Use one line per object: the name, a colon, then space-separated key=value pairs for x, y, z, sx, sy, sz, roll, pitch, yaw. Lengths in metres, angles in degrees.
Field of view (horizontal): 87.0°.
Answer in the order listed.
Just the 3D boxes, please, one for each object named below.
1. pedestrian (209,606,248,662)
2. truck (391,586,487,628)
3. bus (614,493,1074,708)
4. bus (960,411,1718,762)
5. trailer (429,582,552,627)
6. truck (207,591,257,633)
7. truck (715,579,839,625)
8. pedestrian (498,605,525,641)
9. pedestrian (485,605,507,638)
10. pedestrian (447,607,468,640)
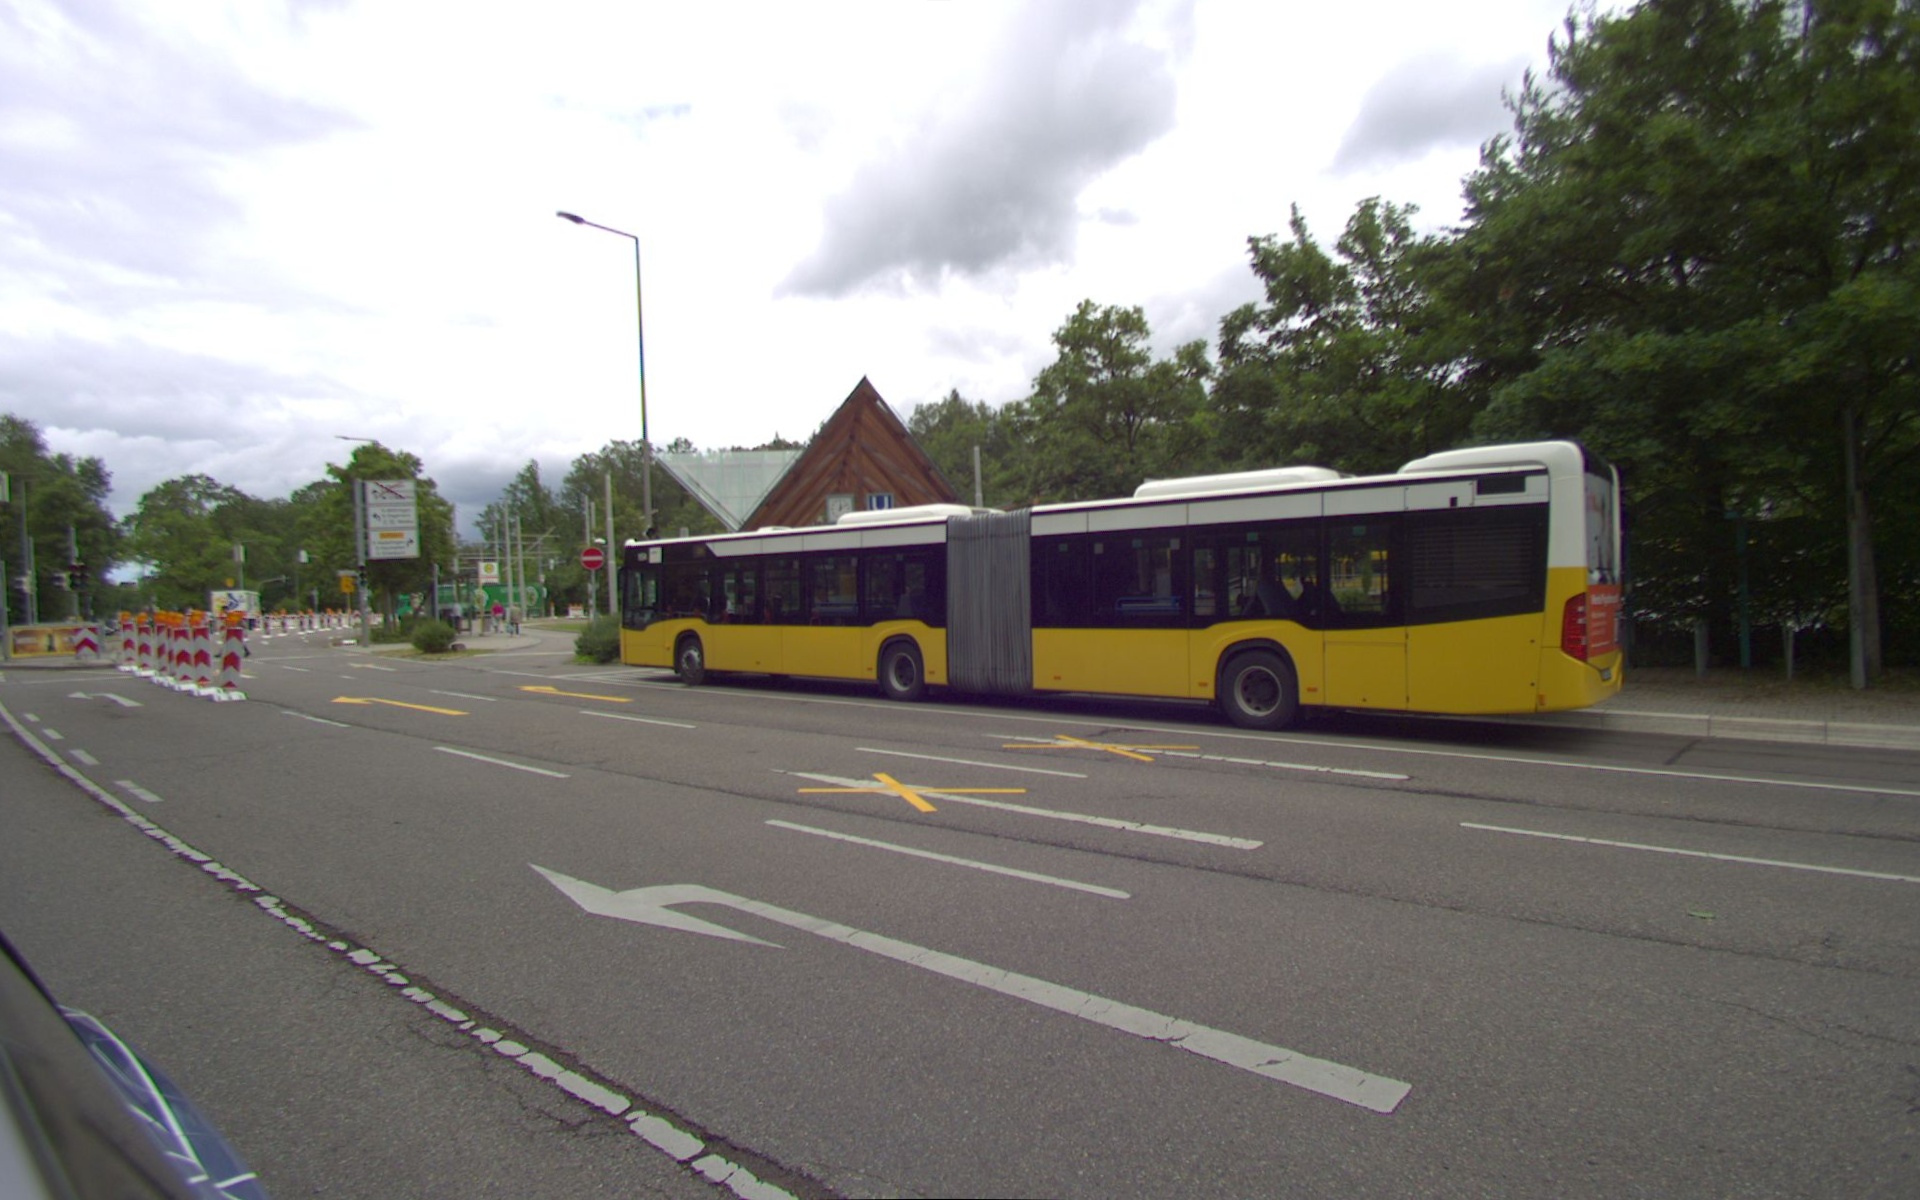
pedestrian: x=-24.809 y=1.151 z=34.348 sx=0.978 sy=1.822 sz=0.768 roll=-3 pitch=1 yaw=-34
truck: x=-54.498 y=0.755 z=105.885 sx=8.695 sy=3.910 sz=3.768 roll=-3 pitch=1 yaw=17
bus: x=-2.685 y=0.075 z=19.171 sx=9.755 sy=3.150 sz=2.868 roll=-1 pitch=-1 yaw=41
bus: x=4.216 y=-0.067 z=13.056 sx=8.690 sy=3.150 sz=2.868 roll=-1 pitch=-1 yaw=41
trailer: x=-48.202 y=0.448 z=103.908 sx=11.765 sy=3.910 sz=3.768 roll=-3 pitch=1 yaw=17
truck: x=-59.269 y=0.976 z=82.483 sx=2.592 sy=3.263 sz=6.225 roll=0 pitch=-1 yaw=-29
truck: x=-10.103 y=0.106 z=55.859 sx=6.263 sy=2.186 sz=2.587 roll=-3 pitch=1 yaw=24
pedestrian: x=-20.128 y=1.014 z=45.438 sx=0.862 sy=1.536 sz=0.769 roll=-3 pitch=1 yaw=-4
pedestrian: x=-22.874 y=1.059 z=49.903 sx=0.779 sy=1.563 sz=0.777 roll=-3 pitch=1 yaw=-38
pedestrian: x=-25.036 y=1.153 z=50.420 sx=0.764 sy=1.557 sz=0.630 roll=-3 pitch=2 yaw=-36
